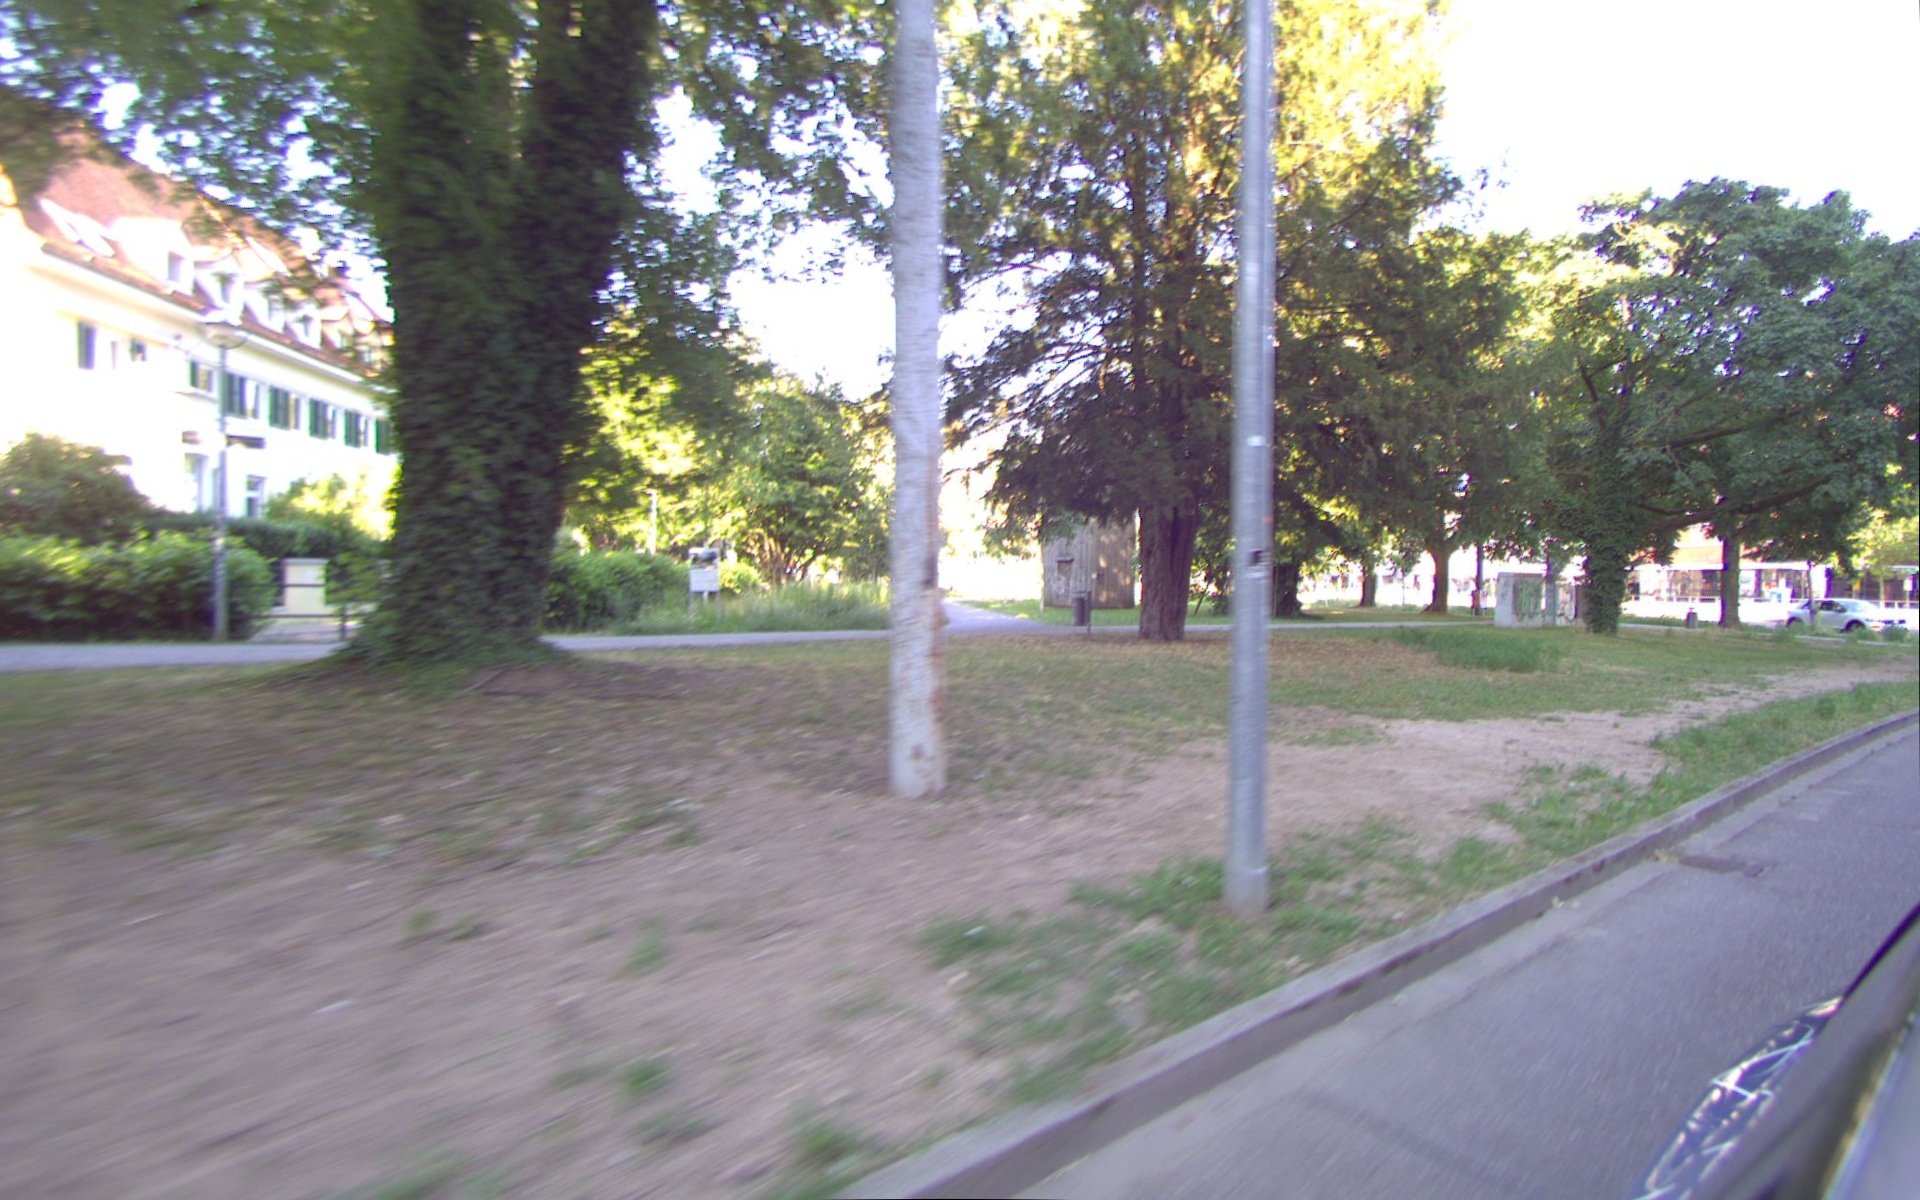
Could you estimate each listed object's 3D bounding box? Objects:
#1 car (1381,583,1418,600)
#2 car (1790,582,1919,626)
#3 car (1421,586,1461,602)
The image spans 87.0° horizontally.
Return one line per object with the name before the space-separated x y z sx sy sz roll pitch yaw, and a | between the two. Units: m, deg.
car | 54.148 -1.056 124.799 1.960 2.038 4.782 1 1 -6
car | 35.253 0.106 39.578 1.798 1.556 4.284 0 2 -4
car | 54.930 -0.709 115.752 1.960 1.819 4.899 1 1 -4
